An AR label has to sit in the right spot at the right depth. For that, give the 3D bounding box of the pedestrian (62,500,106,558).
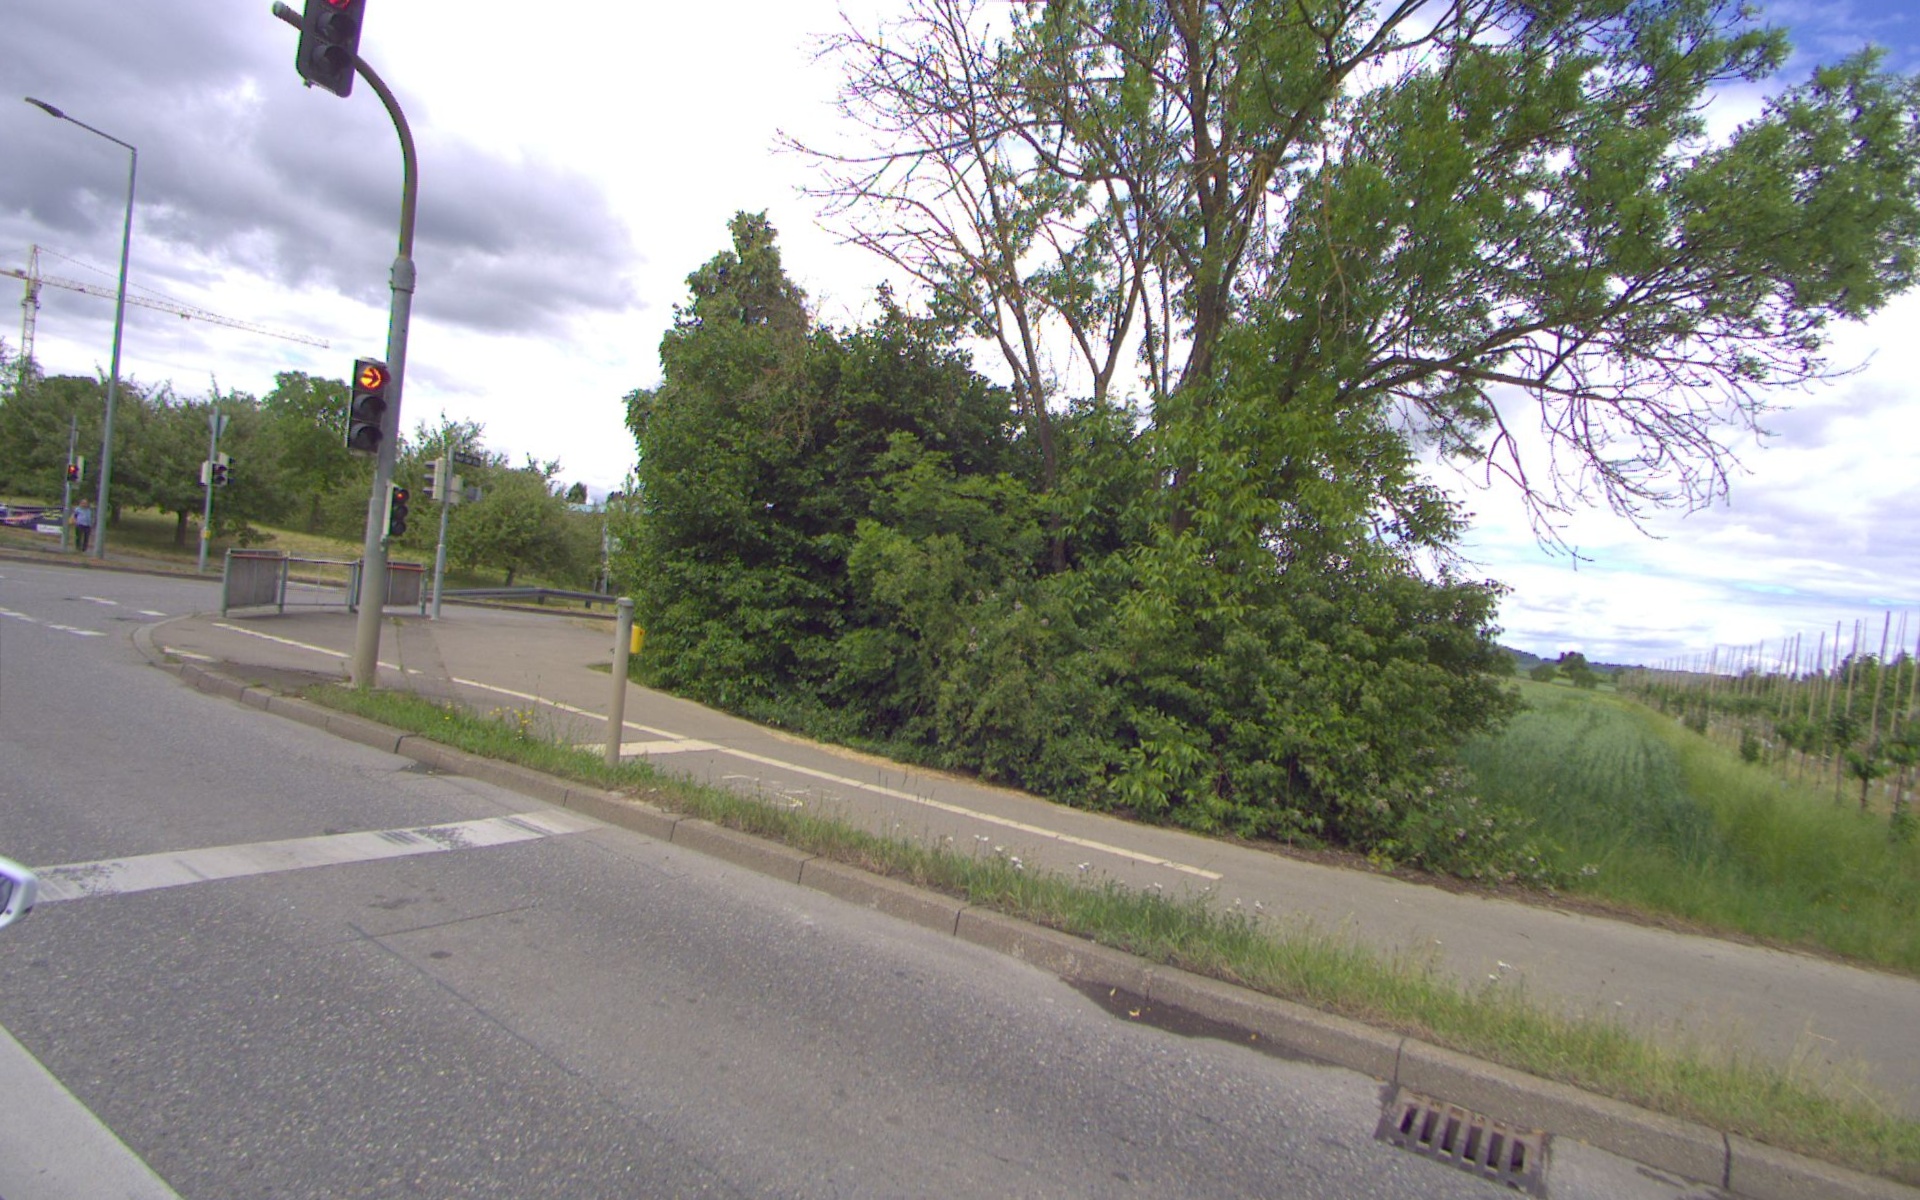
[{"bbox_3d":[-29.530,-2.409,33.916,1.027,1.813,0.719,6,-1,35],"label":"pedestrian"}]
